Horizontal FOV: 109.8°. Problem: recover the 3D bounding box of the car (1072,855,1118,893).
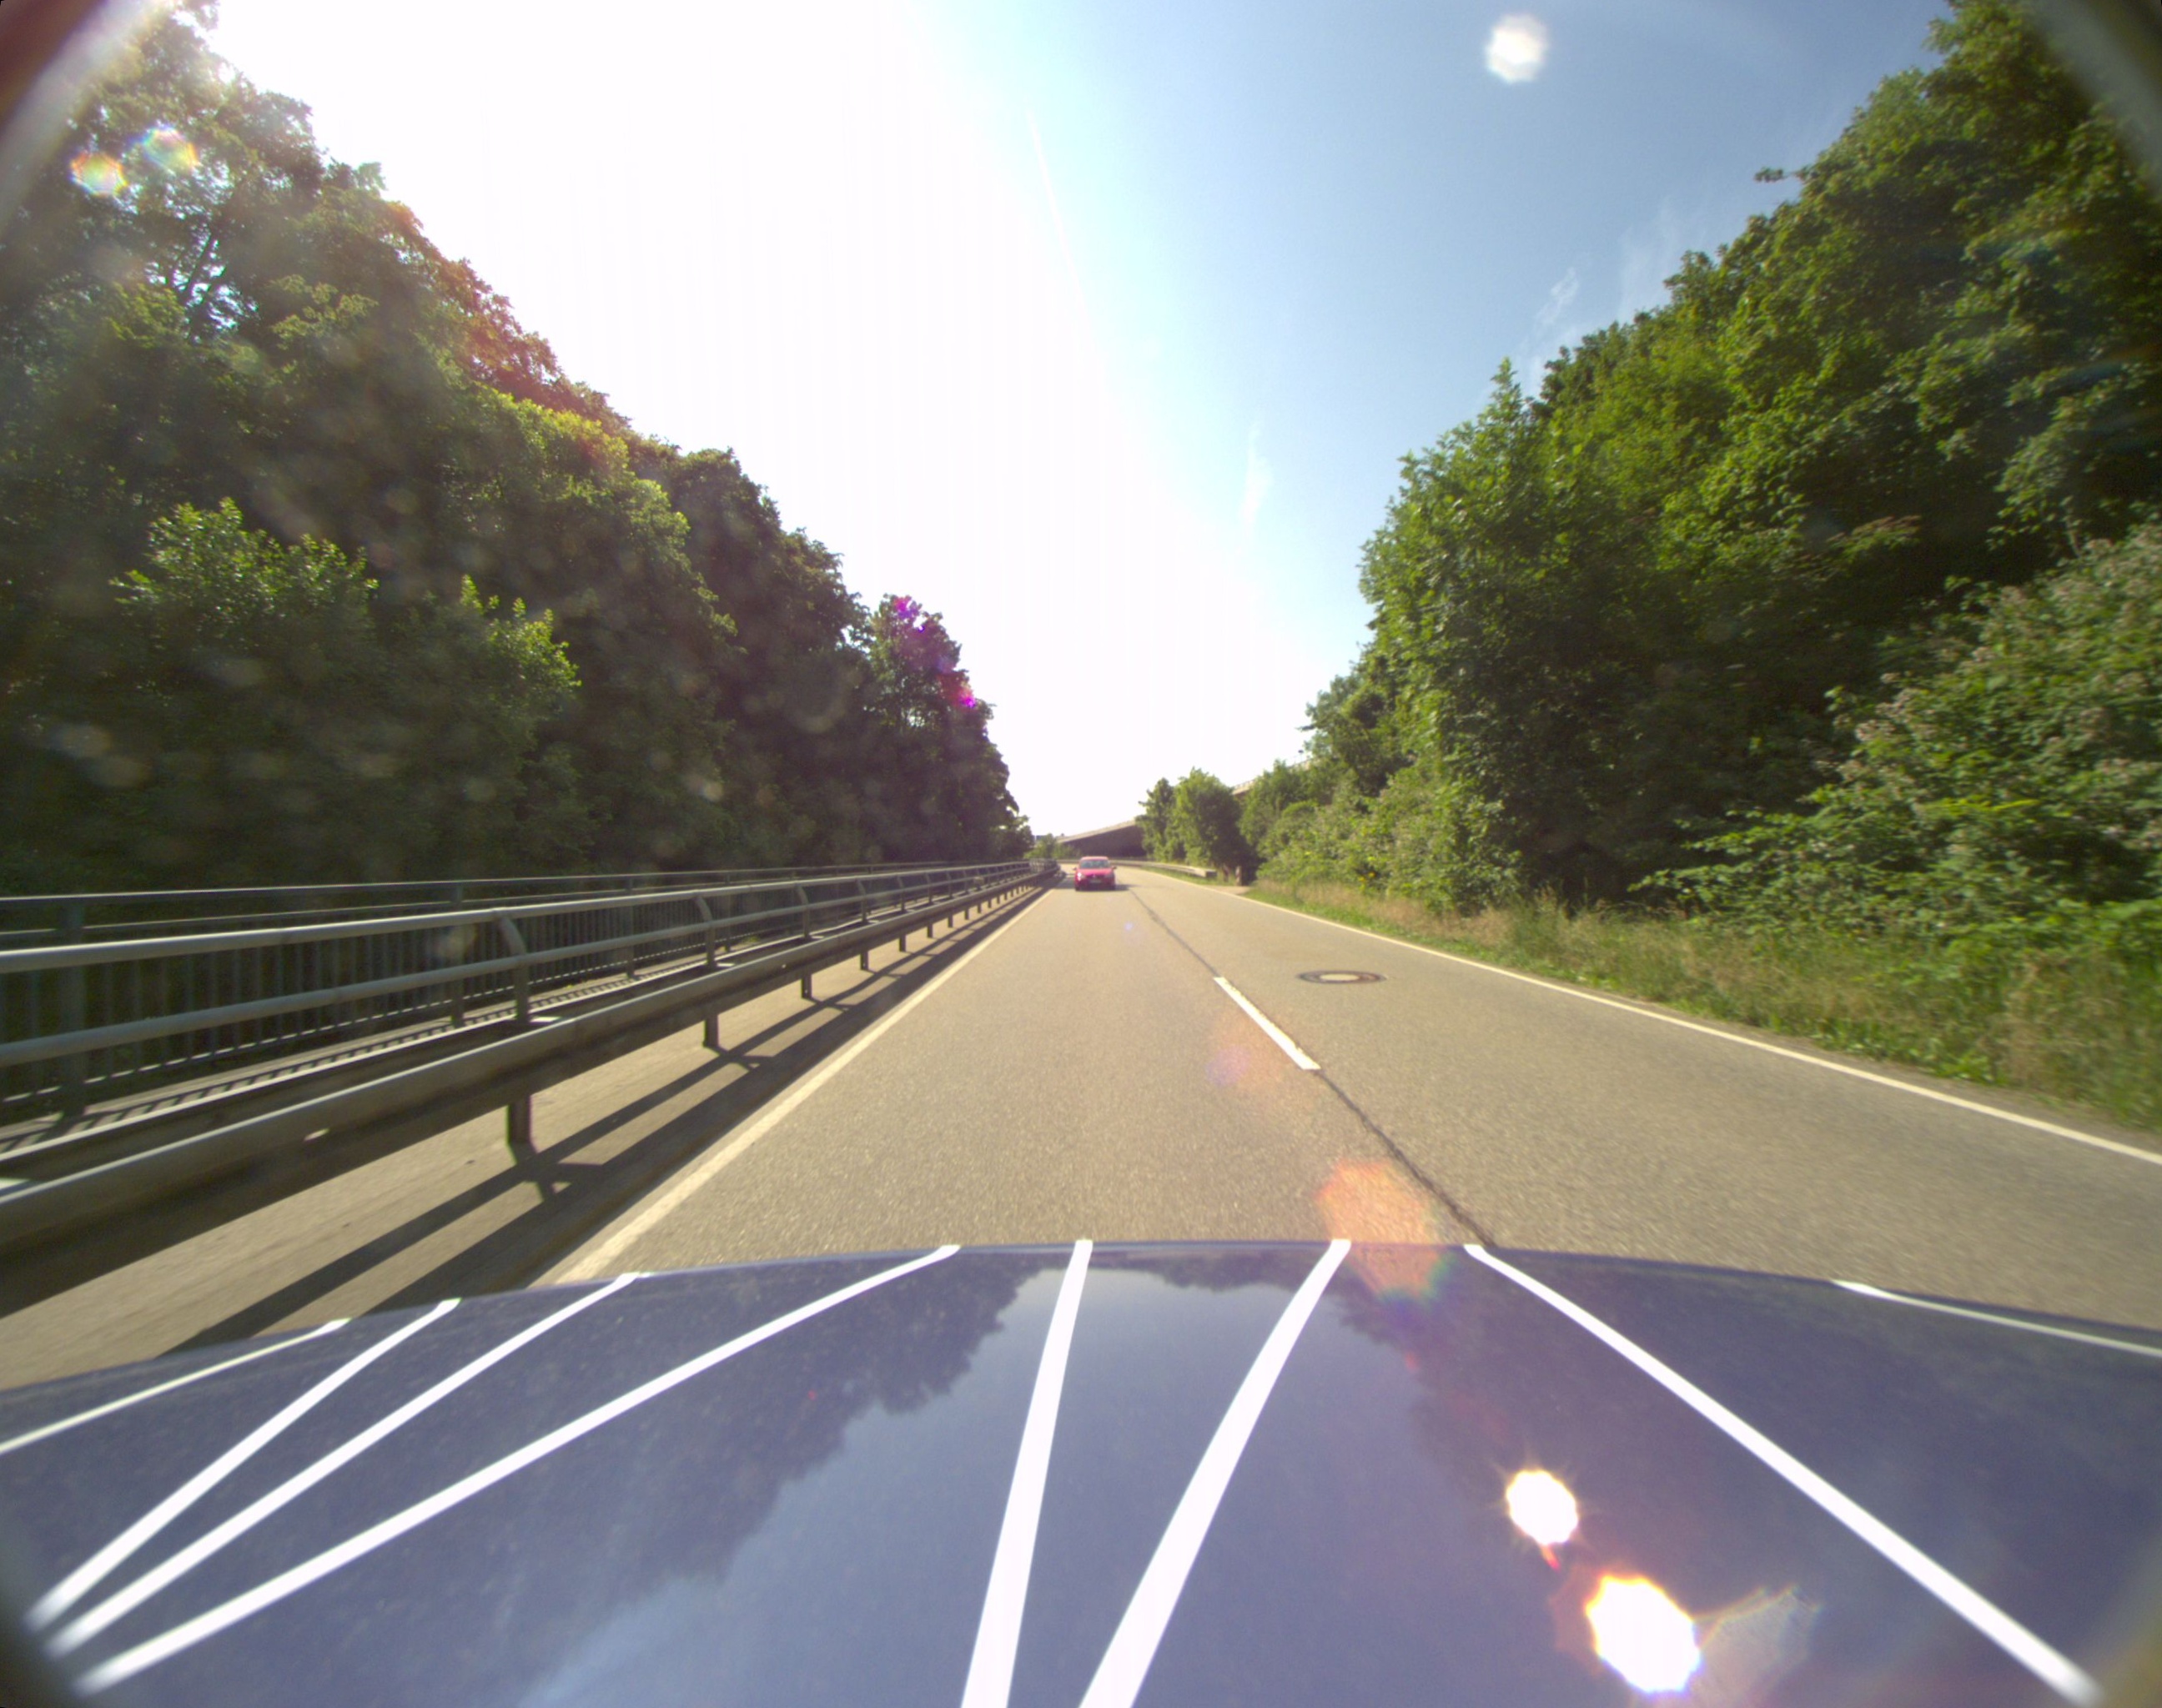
[{"bbox_3d":[0.640,0.834,32.903,1.816,1.488,4.286,-1,0,2],"label":"car"}]
